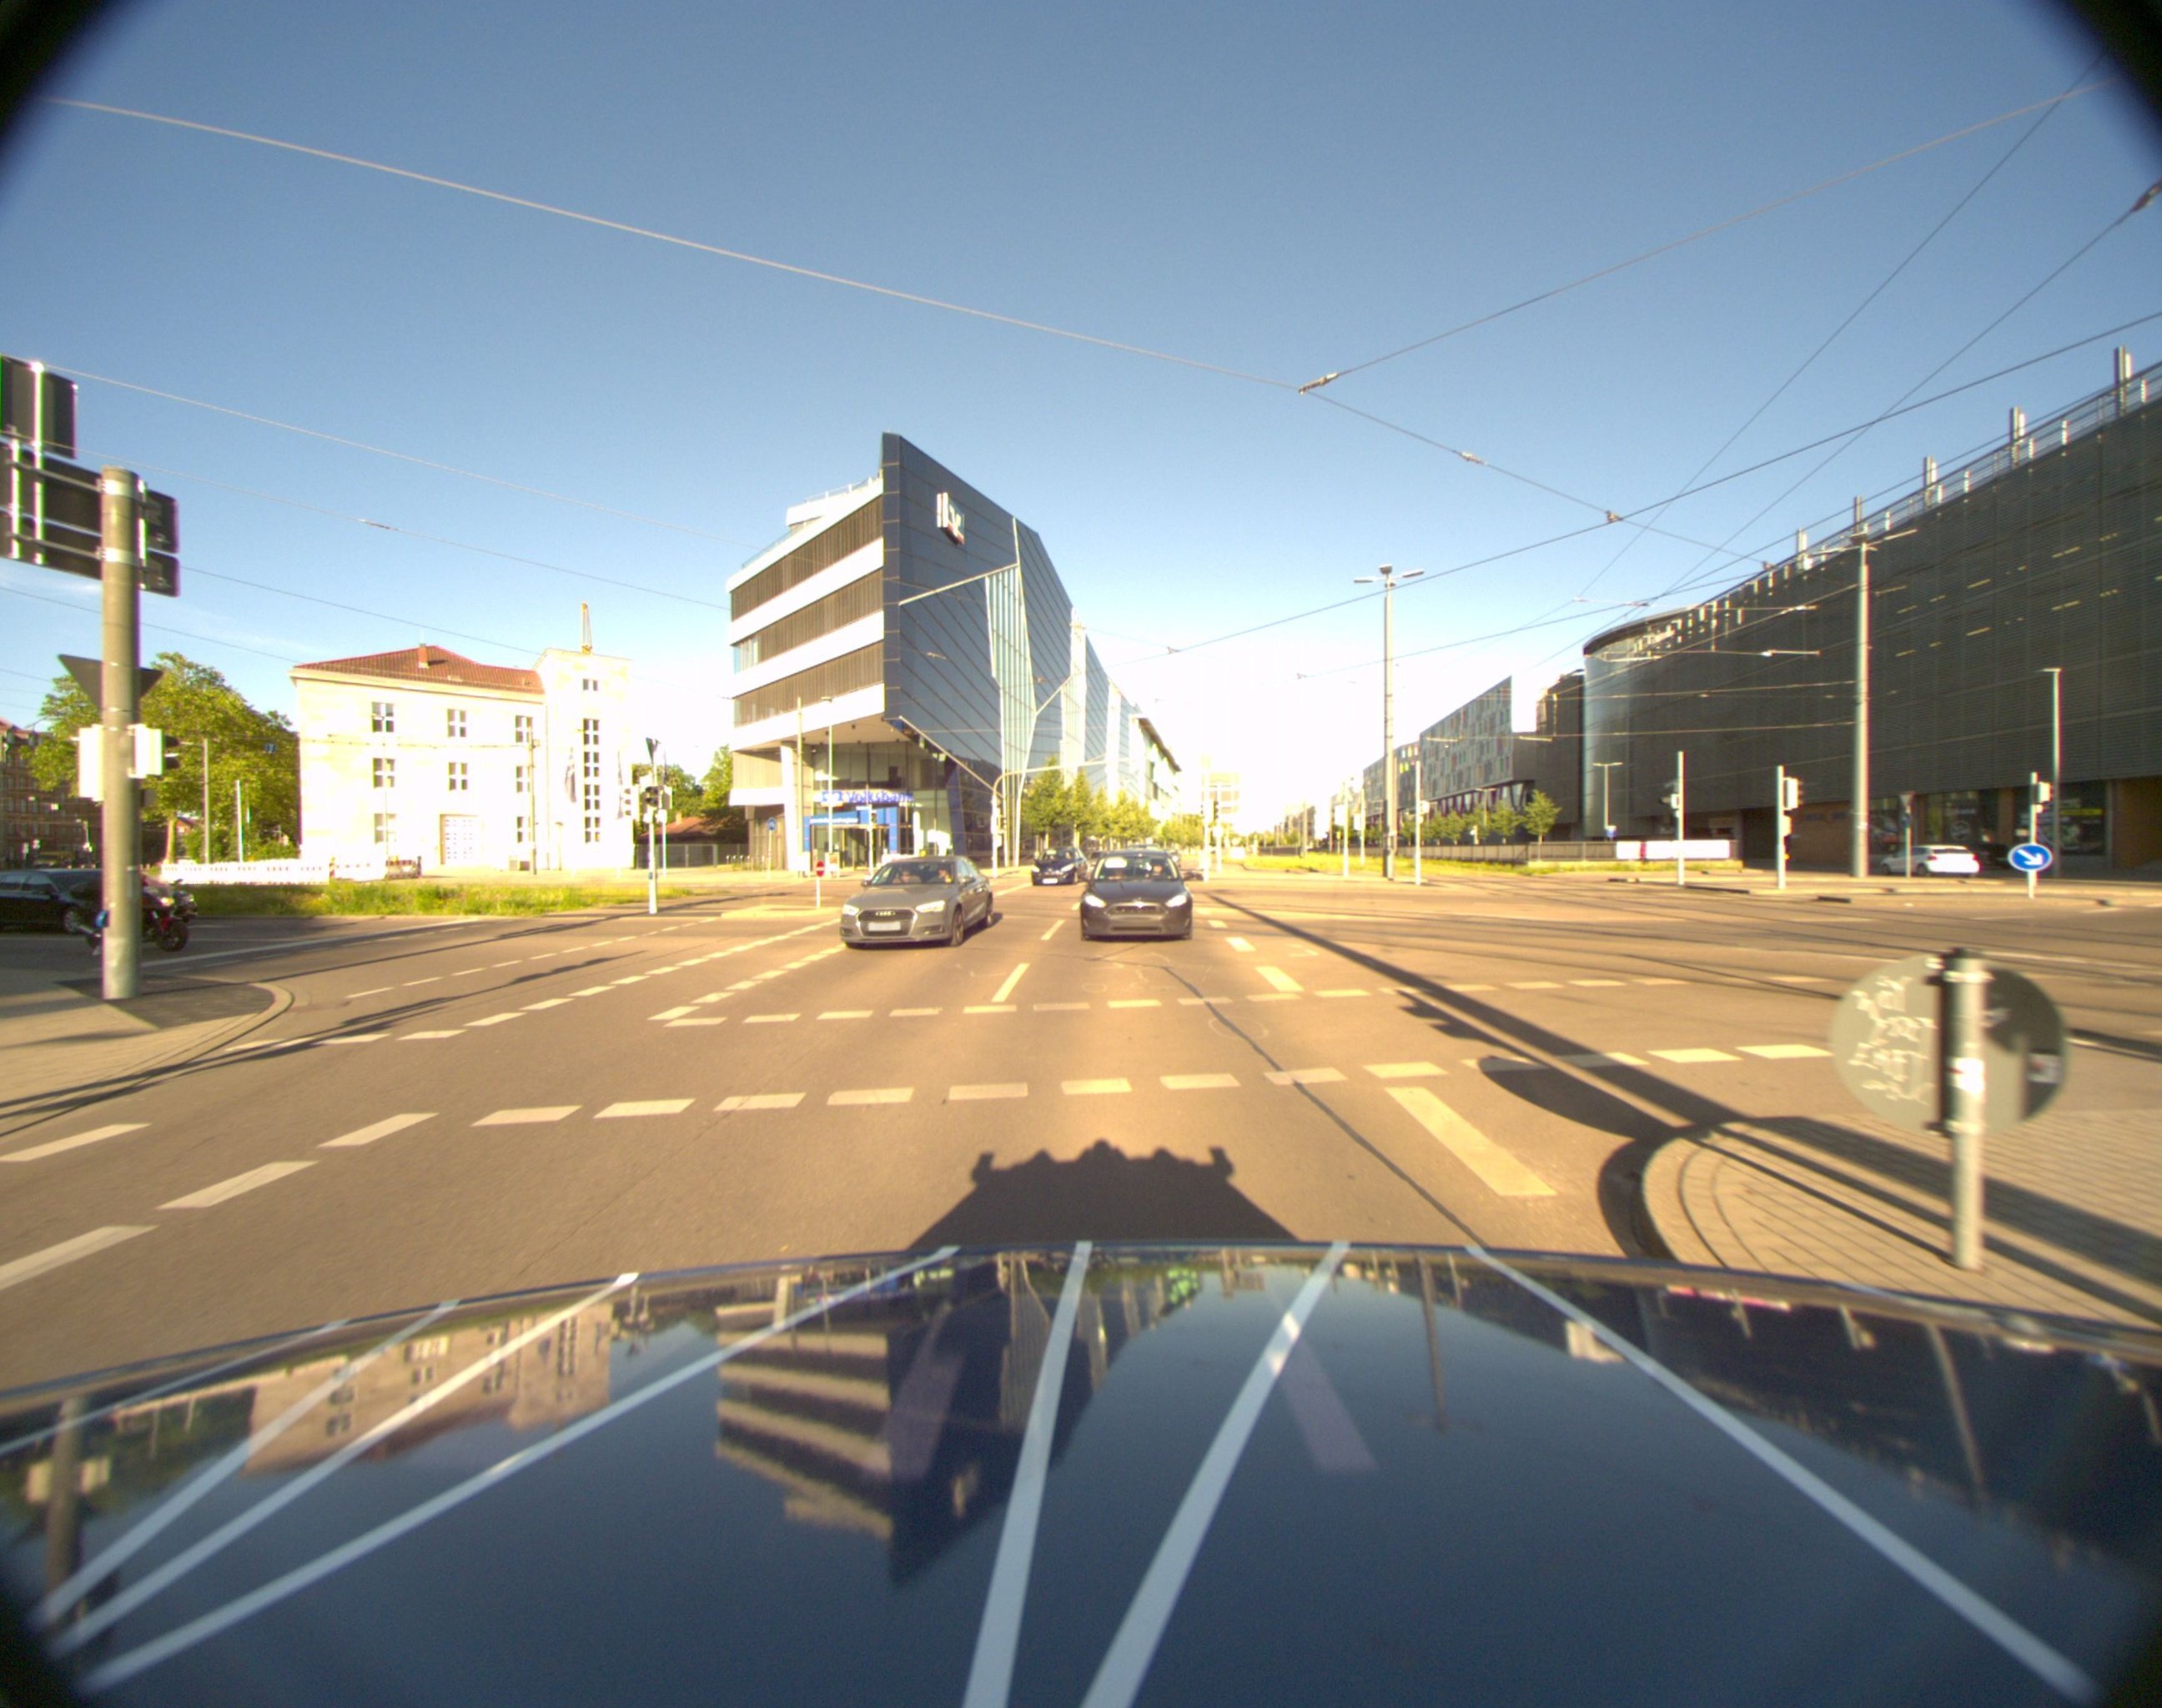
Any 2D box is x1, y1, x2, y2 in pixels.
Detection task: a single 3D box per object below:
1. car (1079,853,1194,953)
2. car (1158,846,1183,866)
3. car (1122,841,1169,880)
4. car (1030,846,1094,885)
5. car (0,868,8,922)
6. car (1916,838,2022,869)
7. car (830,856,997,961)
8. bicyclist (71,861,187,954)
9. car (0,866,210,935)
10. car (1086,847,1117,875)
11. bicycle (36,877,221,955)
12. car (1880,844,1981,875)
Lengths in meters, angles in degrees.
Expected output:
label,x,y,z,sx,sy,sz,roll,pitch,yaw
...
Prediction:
label,x,y,z,sx,sy,sz,roll,pitch,yaw
car,0.951,0.736,13.355,1.689,1.425,4.153,0,1,3
car,6.561,0.124,55.447,1.619,1.421,3.769,0,1,9
car,2.649,0.243,31.755,1.749,1.496,3.880,-1,1,2
car,-0.703,0.422,30.701,1.734,1.437,4.003,0,1,11
car,-30.291,1.102,19.391,3.992,1.414,2.002,0,1,14
car,47.806,-0.067,41.020,1.583,1.521,3.752,-2,1,7
car,-2.640,0.793,12.998,1.714,1.433,4.111,0,1,3
bicyclist,-17.201,0.942,13.750,1.006,1.598,0.880,0,1,7
car,-23.307,1.032,17.821,4.287,1.414,2.002,0,1,14
car,1.168,0.352,42.038,1.438,1.437,4.001,0,1,6
bicycle,-17.185,1.100,13.737,2.369,1.304,0.952,0,1,7
car,38.720,0.217,34.753,1.688,1.364,3.596,0,1,23
